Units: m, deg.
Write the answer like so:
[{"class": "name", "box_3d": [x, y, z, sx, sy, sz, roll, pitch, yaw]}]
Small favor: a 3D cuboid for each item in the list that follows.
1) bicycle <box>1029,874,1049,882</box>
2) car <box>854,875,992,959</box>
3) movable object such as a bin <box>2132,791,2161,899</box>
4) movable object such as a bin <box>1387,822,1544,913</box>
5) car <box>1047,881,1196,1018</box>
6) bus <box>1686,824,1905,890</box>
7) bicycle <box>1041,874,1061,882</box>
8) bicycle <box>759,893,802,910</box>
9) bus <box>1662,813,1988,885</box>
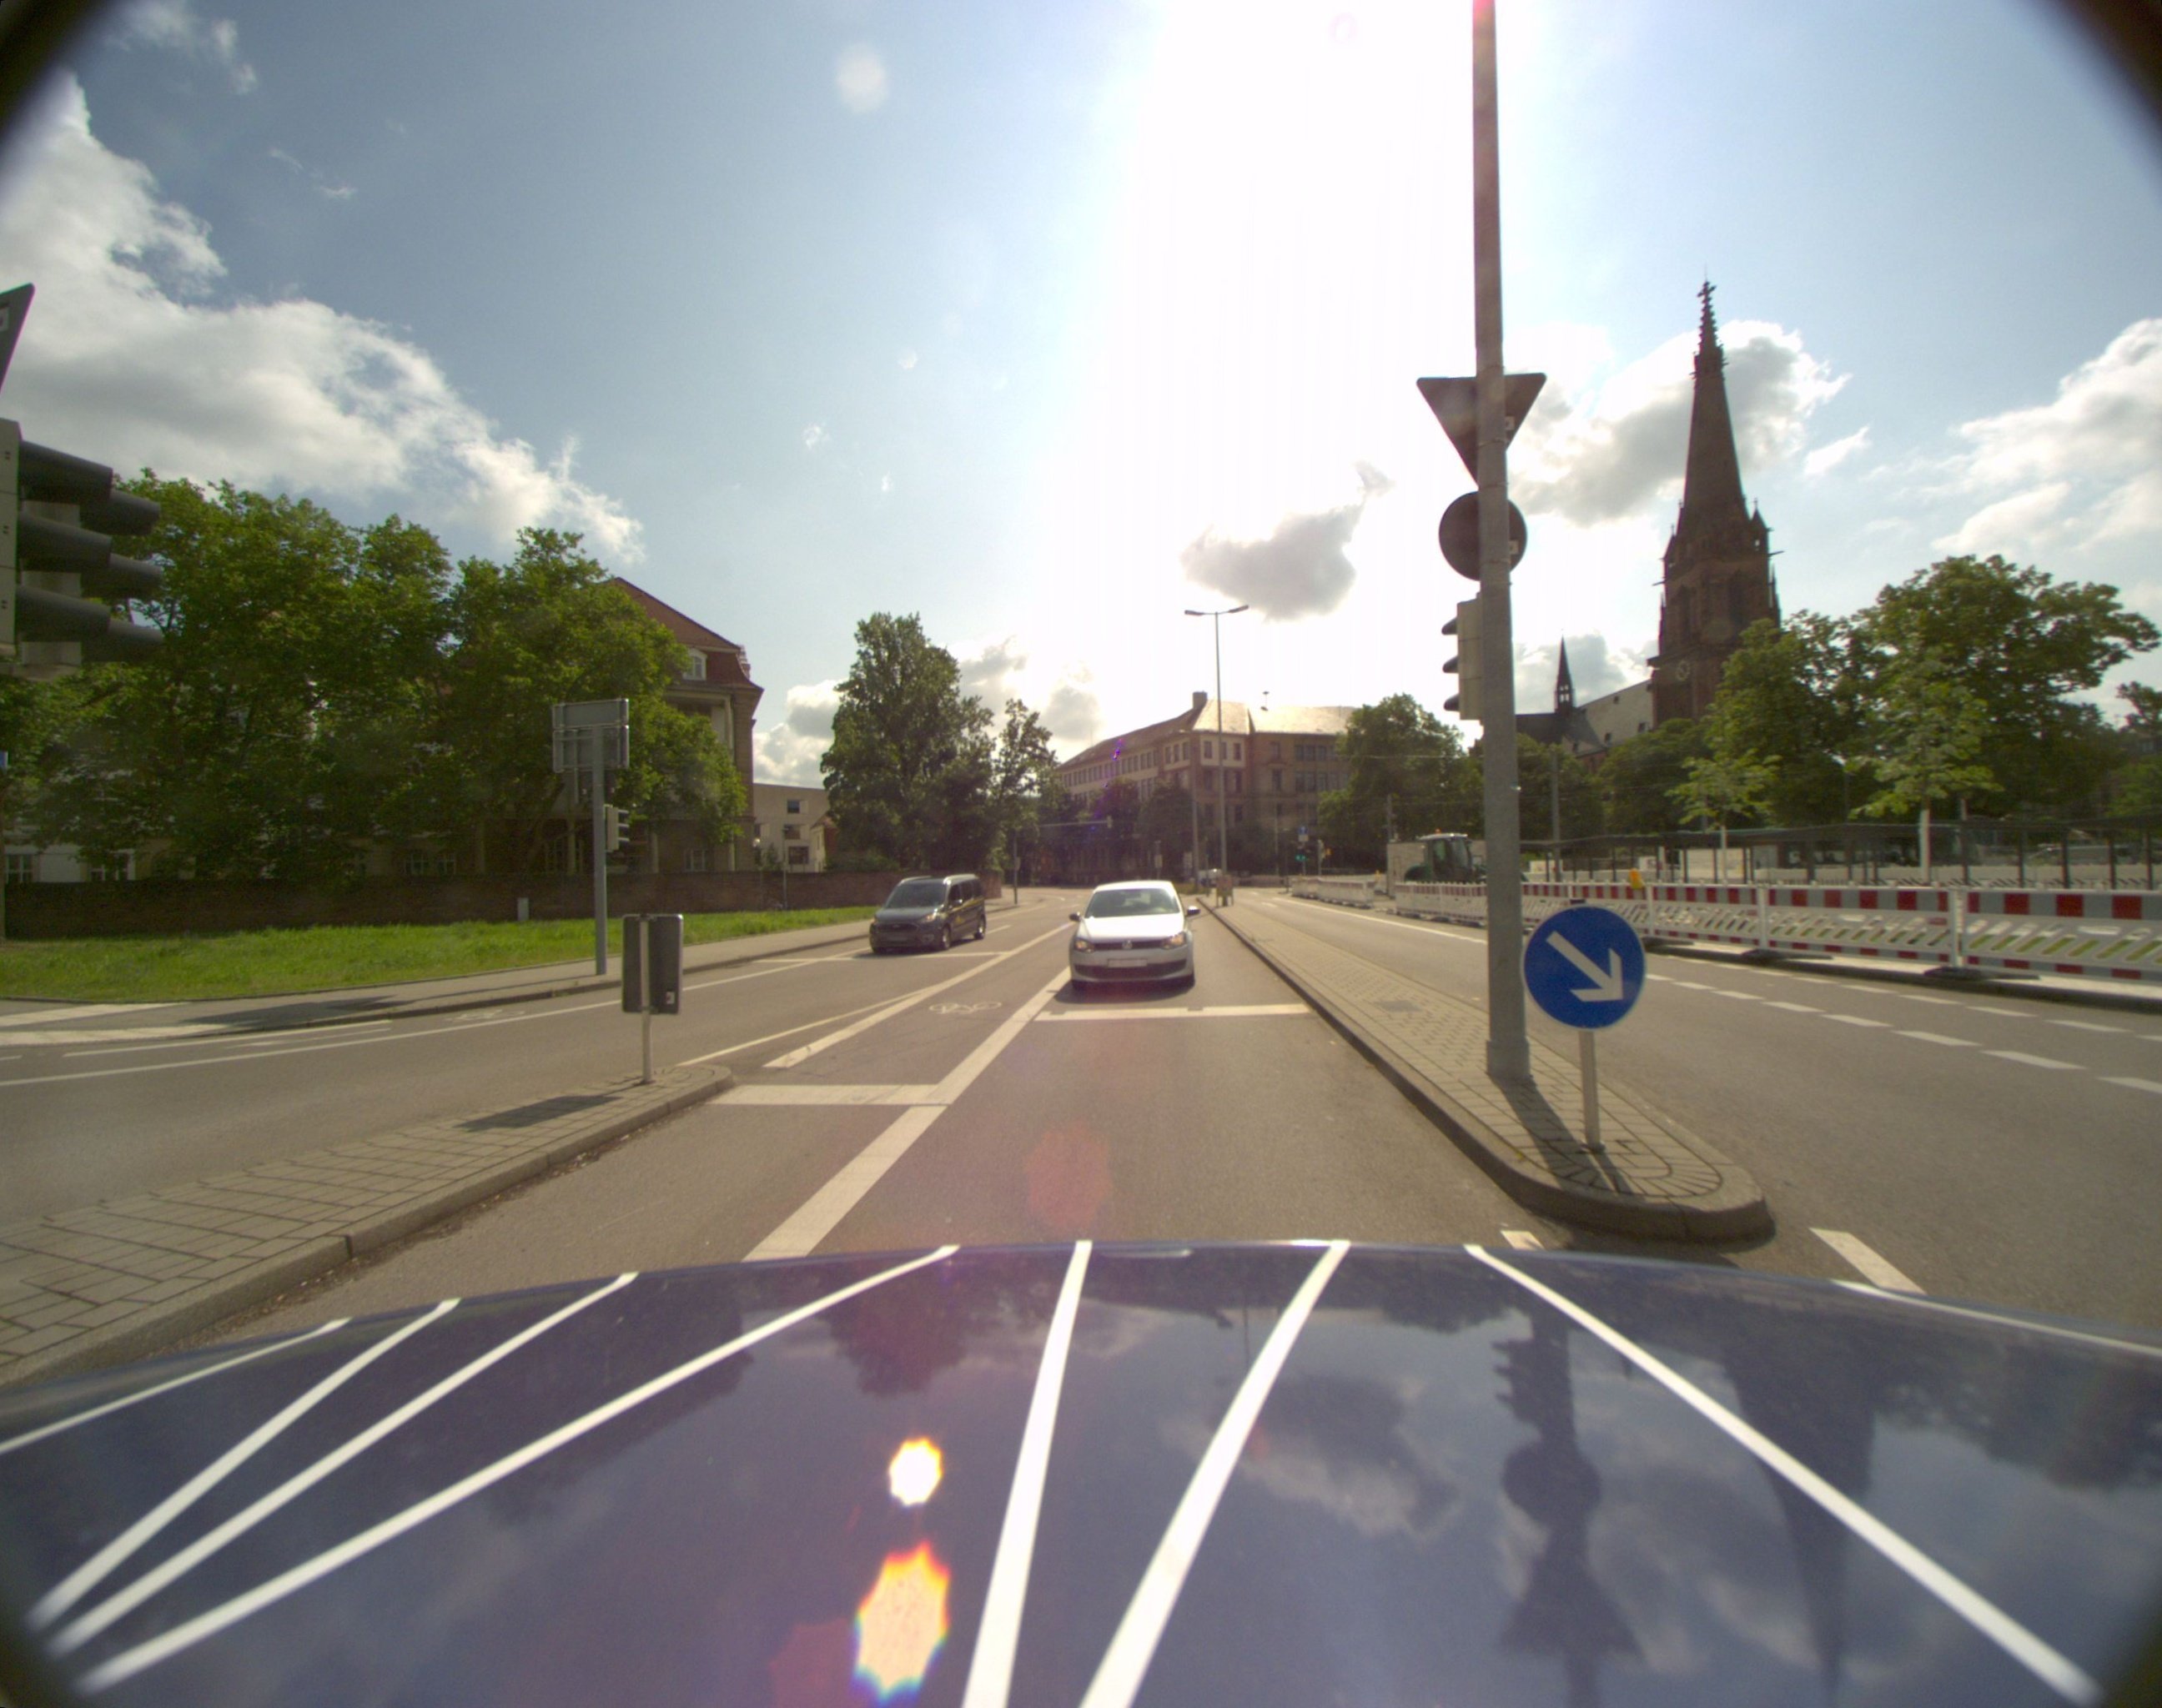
[{"class": "bicycle", "box_3d": [-6.832, 3.970, 123.555, 2.890, 1.200, 1.074, -2, 2, 14]}, {"class": "car", "box_3d": [-3.841, 1.489, 19.393, 1.852, 1.774, 4.675, -3, -1, 8]}, {"class": "movable object such as a bin", "box_3d": [37.198, -0.438, 20.662, 3.025, 3.403, 9.668, -1, -1, -27]}, {"class": "movable object such as a bin", "box_3d": [13.346, 0.491, 26.635, 2.004, 2.931, 4.440, -1, -1, -36]}, {"class": "car", "box_3d": [0.680, 1.193, 10.854, 1.654, 1.433, 4.008, -4, -1, 6]}, {"class": "bus", "box_3d": [36.162, 0.259, 38.883, 2.377, 3.039, 7.747, -1, -1, -28]}, {"class": "bicycle", "box_3d": [-4.761, 3.795, 121.128, 2.890, 1.200, 1.051, -2, 2, 14]}, {"class": "bicycle", "box_3d": [-16.775, 2.637, 42.414, 2.065, 0.856, 0.856, 0, 0, -40]}, {"class": "bus", "box_3d": [38.709, -0.113, 40.537, 2.998, 3.243, 12.050, -1, -1, -28]}]
